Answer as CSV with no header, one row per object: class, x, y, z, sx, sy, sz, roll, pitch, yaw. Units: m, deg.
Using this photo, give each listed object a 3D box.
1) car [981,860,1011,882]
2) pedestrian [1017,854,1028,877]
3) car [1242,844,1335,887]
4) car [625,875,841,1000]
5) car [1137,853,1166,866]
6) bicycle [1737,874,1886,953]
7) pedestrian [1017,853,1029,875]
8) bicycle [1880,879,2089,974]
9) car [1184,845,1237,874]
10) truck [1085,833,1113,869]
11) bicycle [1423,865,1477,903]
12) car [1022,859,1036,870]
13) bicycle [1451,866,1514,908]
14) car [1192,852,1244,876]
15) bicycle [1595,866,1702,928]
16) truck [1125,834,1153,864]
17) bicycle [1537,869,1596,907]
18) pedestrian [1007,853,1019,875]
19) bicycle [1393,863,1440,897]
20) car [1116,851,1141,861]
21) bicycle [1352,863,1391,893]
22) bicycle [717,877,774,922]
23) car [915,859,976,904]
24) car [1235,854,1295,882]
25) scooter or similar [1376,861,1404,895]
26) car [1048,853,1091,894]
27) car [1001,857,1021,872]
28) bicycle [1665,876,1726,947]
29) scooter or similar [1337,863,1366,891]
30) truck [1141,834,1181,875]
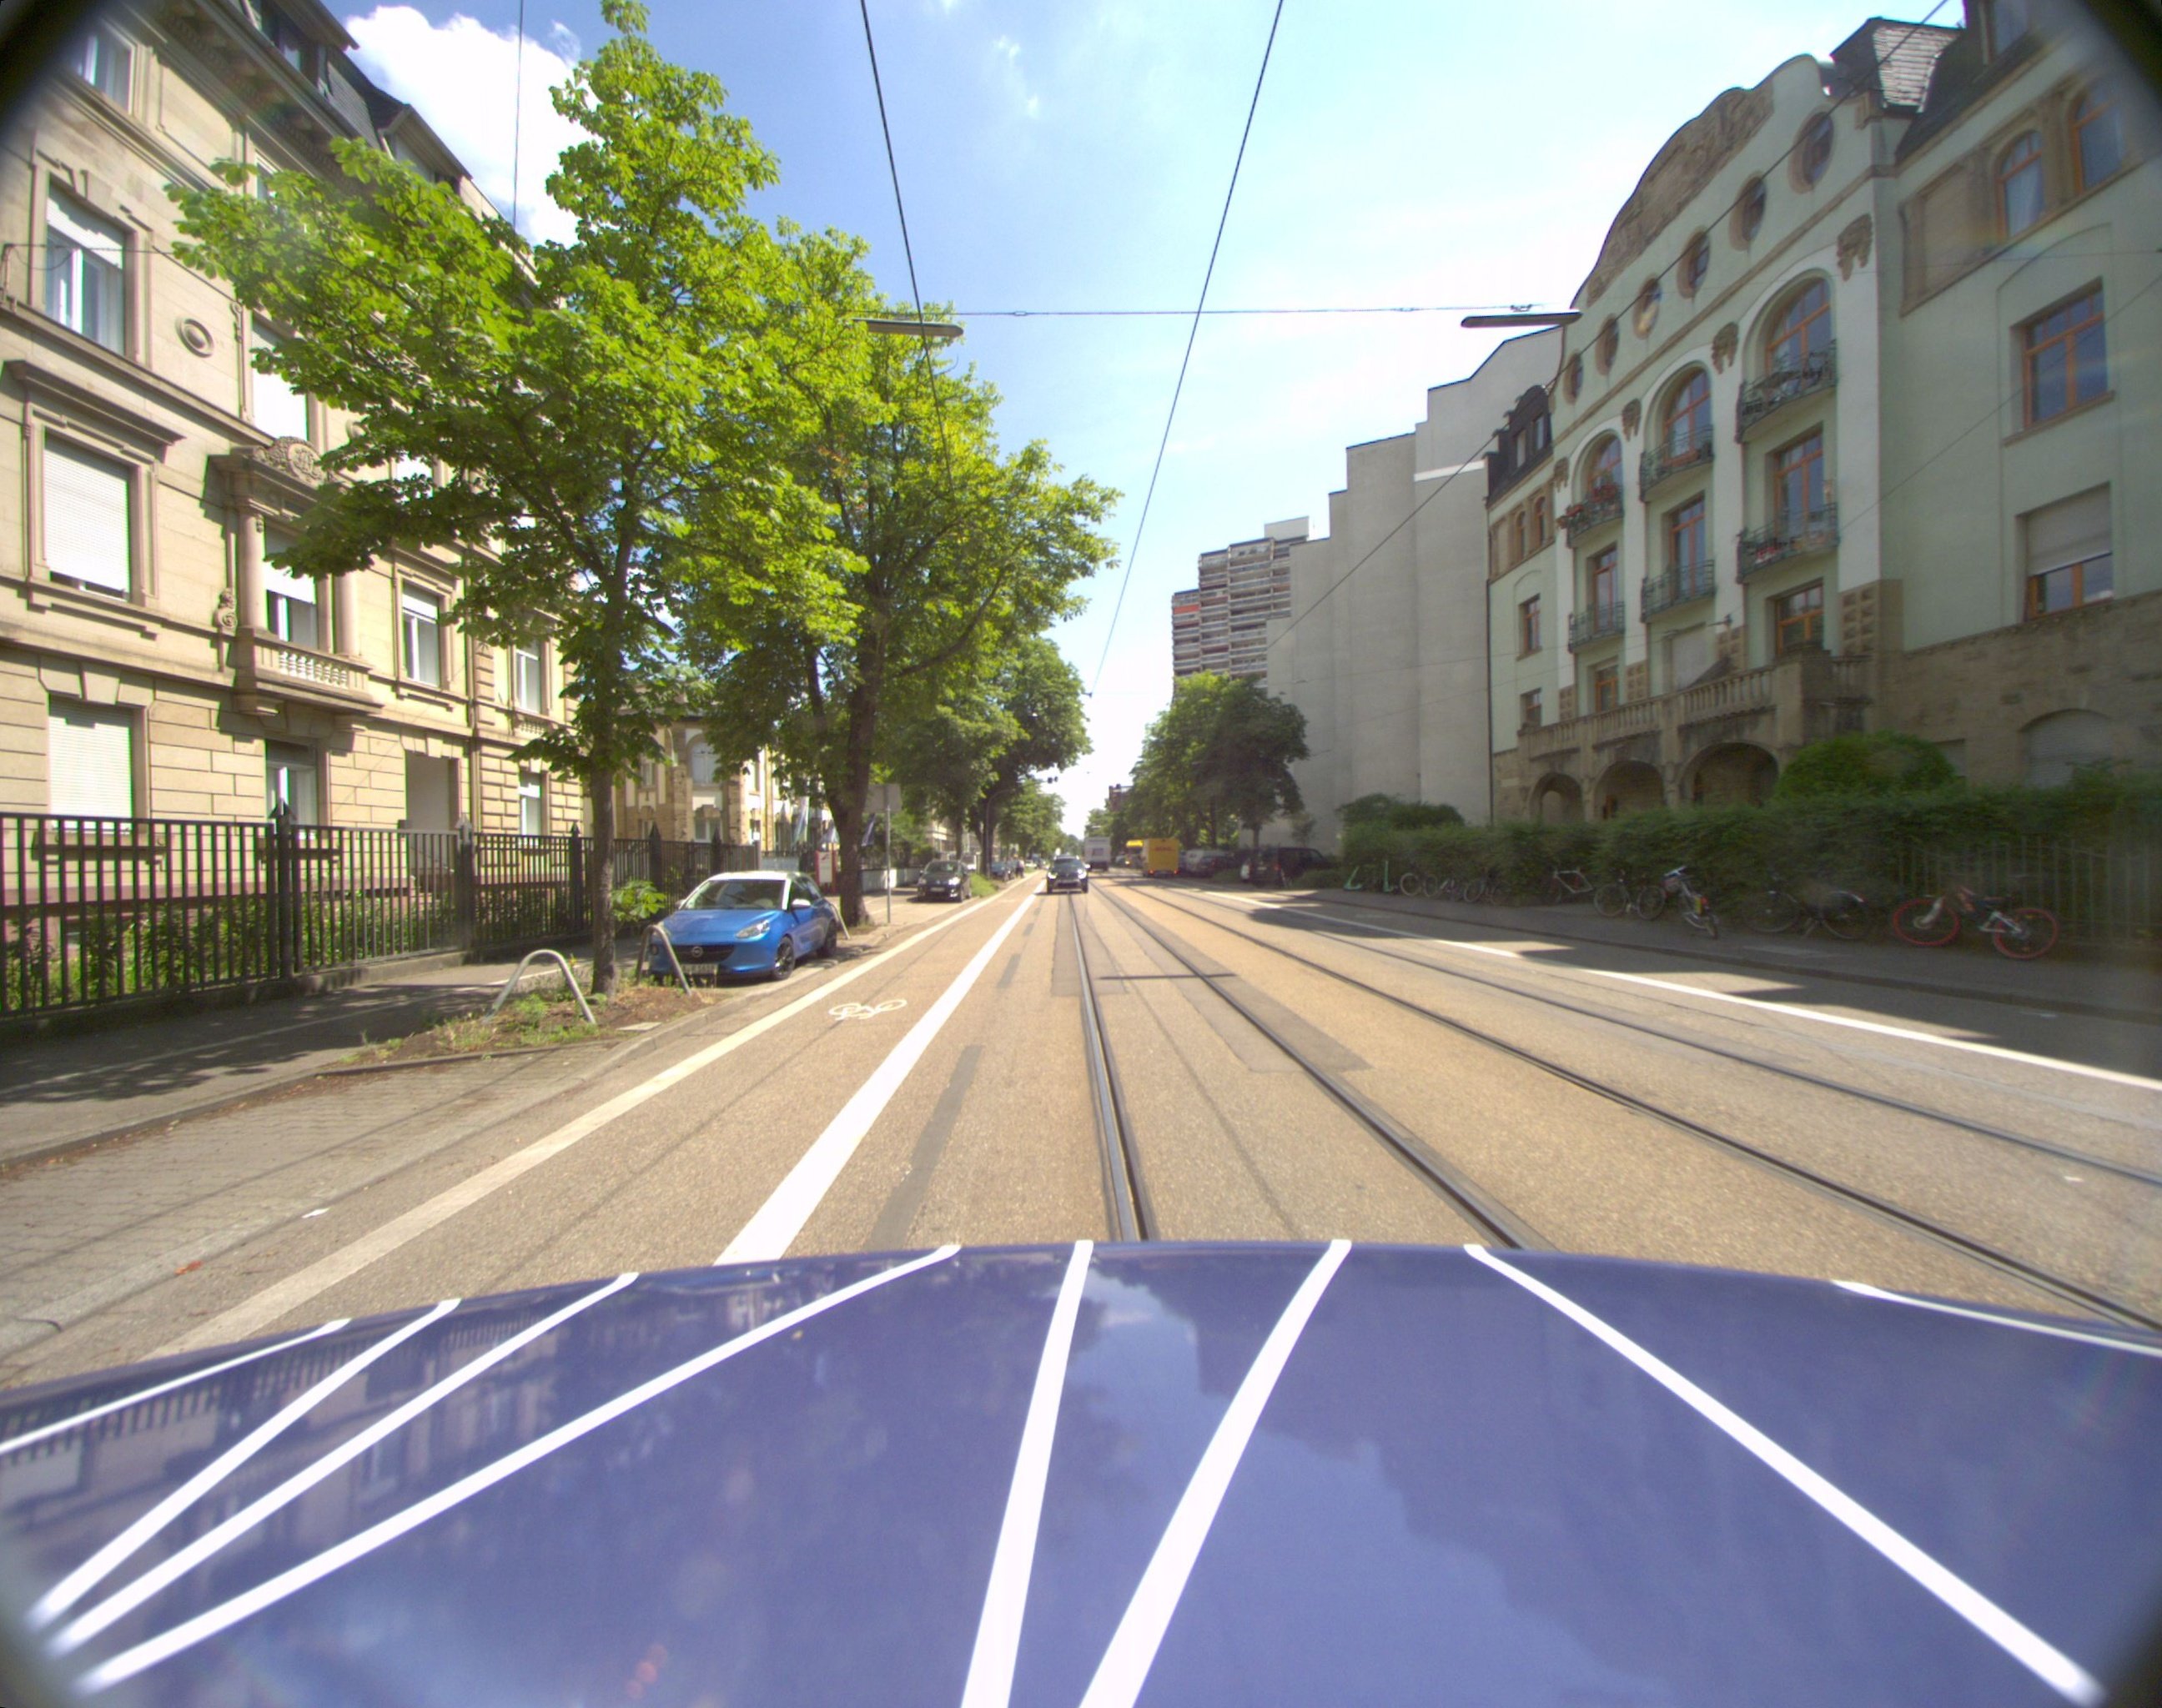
car,-5.776,1.110,51.990,1.626,1.395,3.822,1,0,-1
pedestrian,-4.788,0.953,61.841,0.645,1.839,0.741,-1,1,16
car,10.057,0.500,36.663,4.595,1.914,1.957,-1,0,-38
car,-4.945,1.102,11.345,1.695,1.444,3.473,-1,0,-2
car,8.625,0.687,92.627,1.678,1.445,3.682,-1,0,43
bicycle,10.649,0.835,11.164,0.465,0.993,1.707,-5,0,-1
pedestrian,-4.818,0.807,63.427,0.741,1.839,0.645,-1,1,-37
bicycle,10.864,0.832,9.234,0.414,0.960,1.725,-5,0,-1
car,9.637,0.401,56.407,4.061,2.030,1.598,-1,0,-42
truck,1.870,-0.305,80.914,2.792,3.598,8.255,-1,0,0
bicycle,10.533,0.827,21.775,0.609,0.983,1.707,-5,0,-2
car,-7.226,1.438,105.711,1.626,1.395,3.999,1,0,-1
bicycle,10.482,0.836,19.901,0.609,0.970,1.771,-5,0,-2
car,9.580,0.672,52.939,3.692,1.566,1.678,-1,1,-44
bicycle,10.777,0.785,14.505,0.609,1.026,1.771,-5,0,-2
truck,8.661,-0.703,111.669,2.672,4.155,10.482,-1,0,12
bicycle,11.851,0.827,18.560,1.208,0.903,0.340,-1,1,1
pedestrian,-5.586,0.827,62.366,0.645,1.839,0.741,-1,1,25
bicycle,10.525,0.792,23.869,0.609,0.983,1.707,-5,0,-2
car,8.864,0.455,141.920,4.337,1.797,1.995,-1,0,-34
bicycle,10.413,0.846,27.281,0.609,0.983,1.707,-5,0,-2
bicycle,-8.920,1.189,20.309,0.609,1.065,1.980,-1,0,1
car,-5.317,1.041,30.235,1.734,1.606,4.083,1,0,-1
car,10.545,0.781,43.401,1.721,1.445,3.635,-1,0,43
scooter or similar,10.394,0.796,25.563,0.407,1.113,1.291,-1,0,1
car,-0.521,0.828,33.942,1.753,1.641,4.297,-3,0,-1
car,-6.552,0.972,71.295,1.626,1.395,3.999,1,0,-1
bicycle,9.858,0.883,12.231,0.608,0.993,1.778,-1,0,34
scooter or similar,10.295,0.871,28.936,0.407,1.014,1.222,-1,0,-17
truck,5.911,0.030,56.990,2.306,2.903,6.515,-1,0,0
